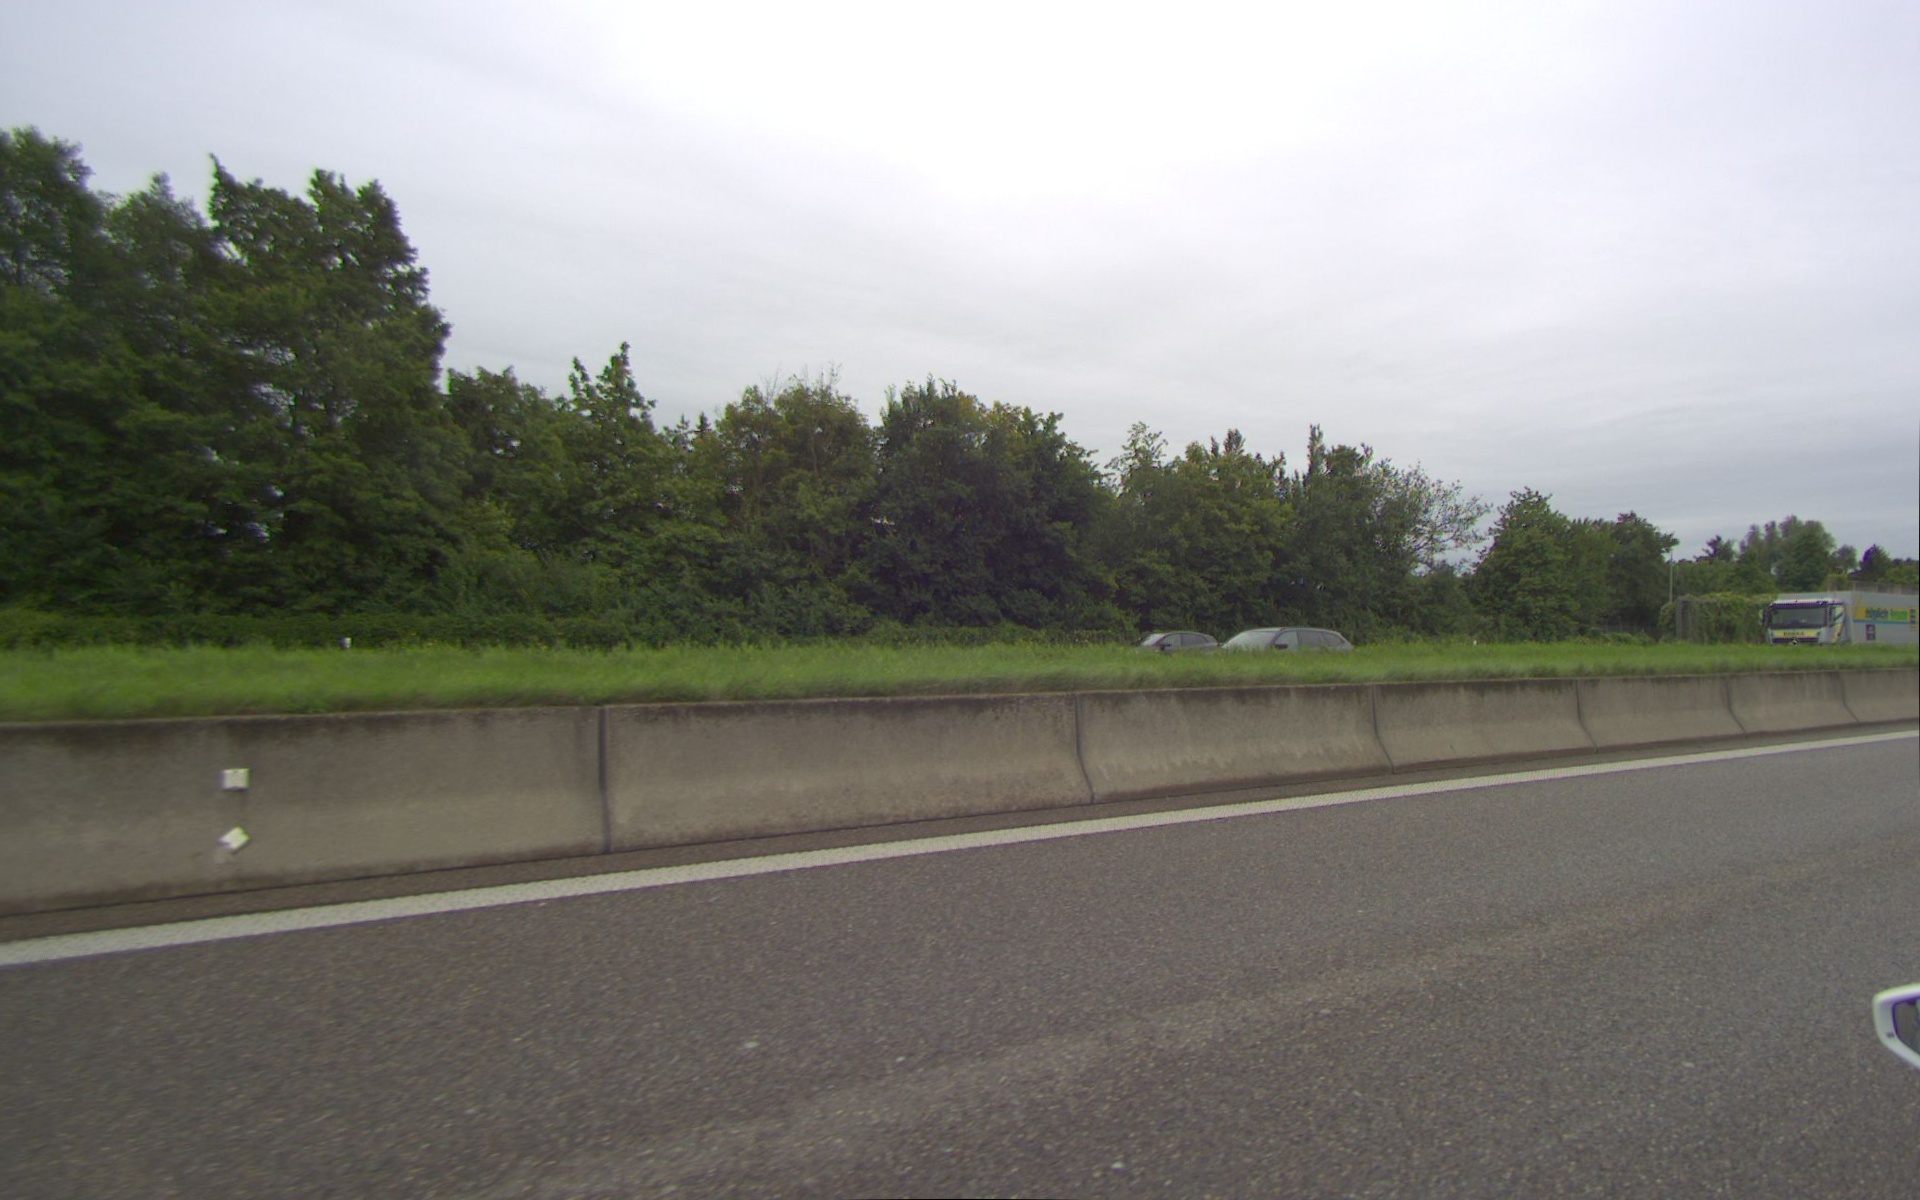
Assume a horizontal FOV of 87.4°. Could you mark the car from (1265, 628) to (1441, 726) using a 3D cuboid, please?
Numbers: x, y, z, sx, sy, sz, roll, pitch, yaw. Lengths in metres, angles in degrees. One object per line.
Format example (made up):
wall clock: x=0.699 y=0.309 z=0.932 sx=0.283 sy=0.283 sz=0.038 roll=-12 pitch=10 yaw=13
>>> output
car: x=9.104 y=1.722 z=23.189 sx=3.907 sy=2.040 sz=1.694 roll=2 pitch=0 yaw=-30

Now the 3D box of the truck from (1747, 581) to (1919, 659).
truck: x=40.565 y=0.970 z=46.127 sx=11.222 sy=3.264 sz=2.871 roll=2 pitch=0 yaw=-30

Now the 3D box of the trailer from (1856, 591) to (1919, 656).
trailer: x=48.851 y=1.235 z=50.931 sx=7.779 sy=3.118 sz=2.764 roll=2 pitch=0 yaw=-30

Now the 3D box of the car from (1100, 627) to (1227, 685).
car: x=6.964 y=1.881 z=34.284 sx=3.955 sy=1.818 sz=1.983 roll=2 pitch=0 yaw=-31
